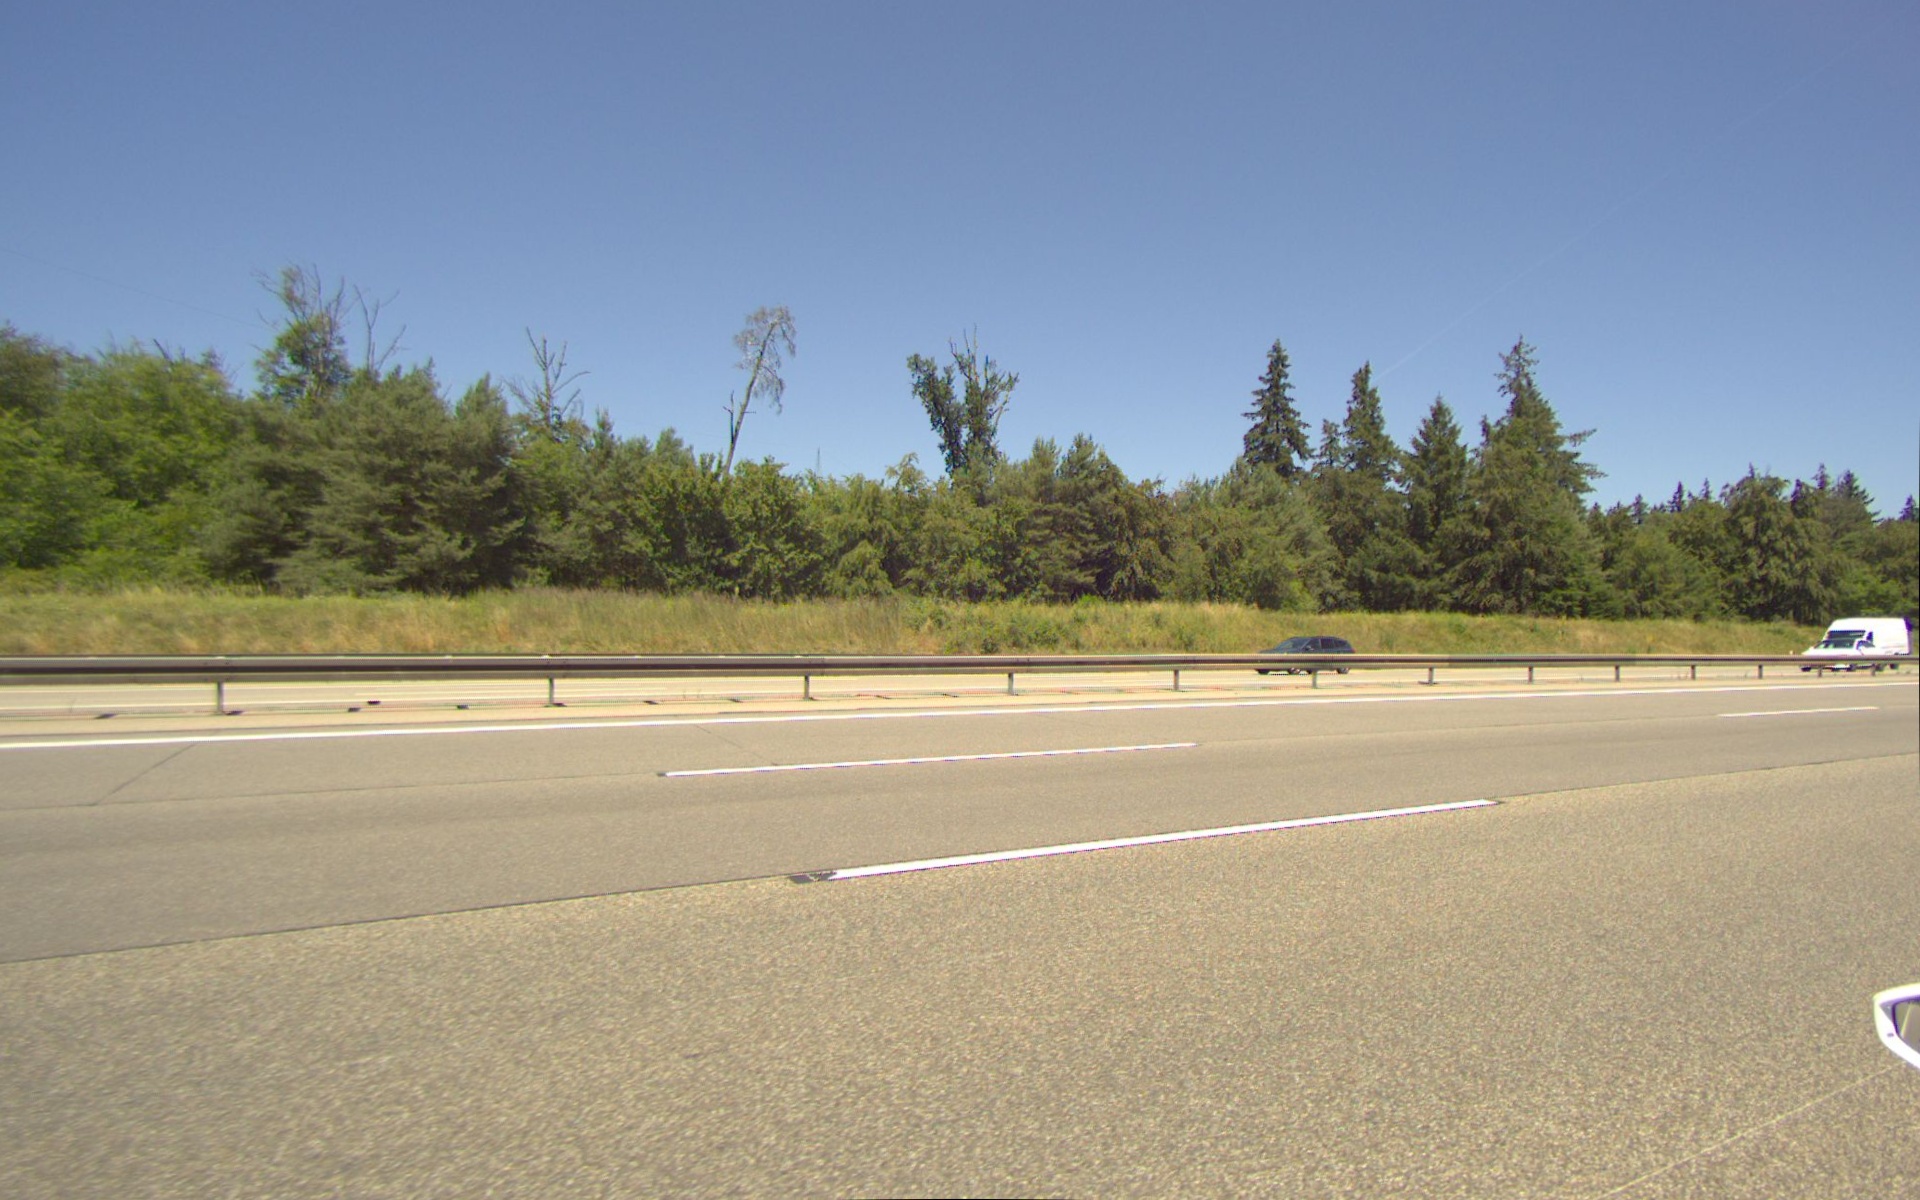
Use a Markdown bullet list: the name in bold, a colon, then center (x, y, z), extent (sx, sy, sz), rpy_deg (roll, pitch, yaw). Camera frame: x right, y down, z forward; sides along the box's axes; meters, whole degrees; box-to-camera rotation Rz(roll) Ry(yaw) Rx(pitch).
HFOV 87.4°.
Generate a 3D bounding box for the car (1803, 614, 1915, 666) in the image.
- **car**: center (49.193, 2.198, 54.927), extent (6.788, 2.746, 2.334), rpy_deg (1, -3, -29)

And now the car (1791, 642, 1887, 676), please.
- **car**: center (39.065, 2.598, 44.614), extent (4.617, 1.410, 1.685), rpy_deg (1, -3, -29)

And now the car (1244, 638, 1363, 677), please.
- **car**: center (13.380, 2.215, 39.058), extent (4.617, 1.410, 1.685), rpy_deg (1, -3, -29)

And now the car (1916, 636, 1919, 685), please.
- **car**: center (30.930, 1.827, 30.135), extent (4.937, 1.451, 1.825), rpy_deg (1, -1, -28)
